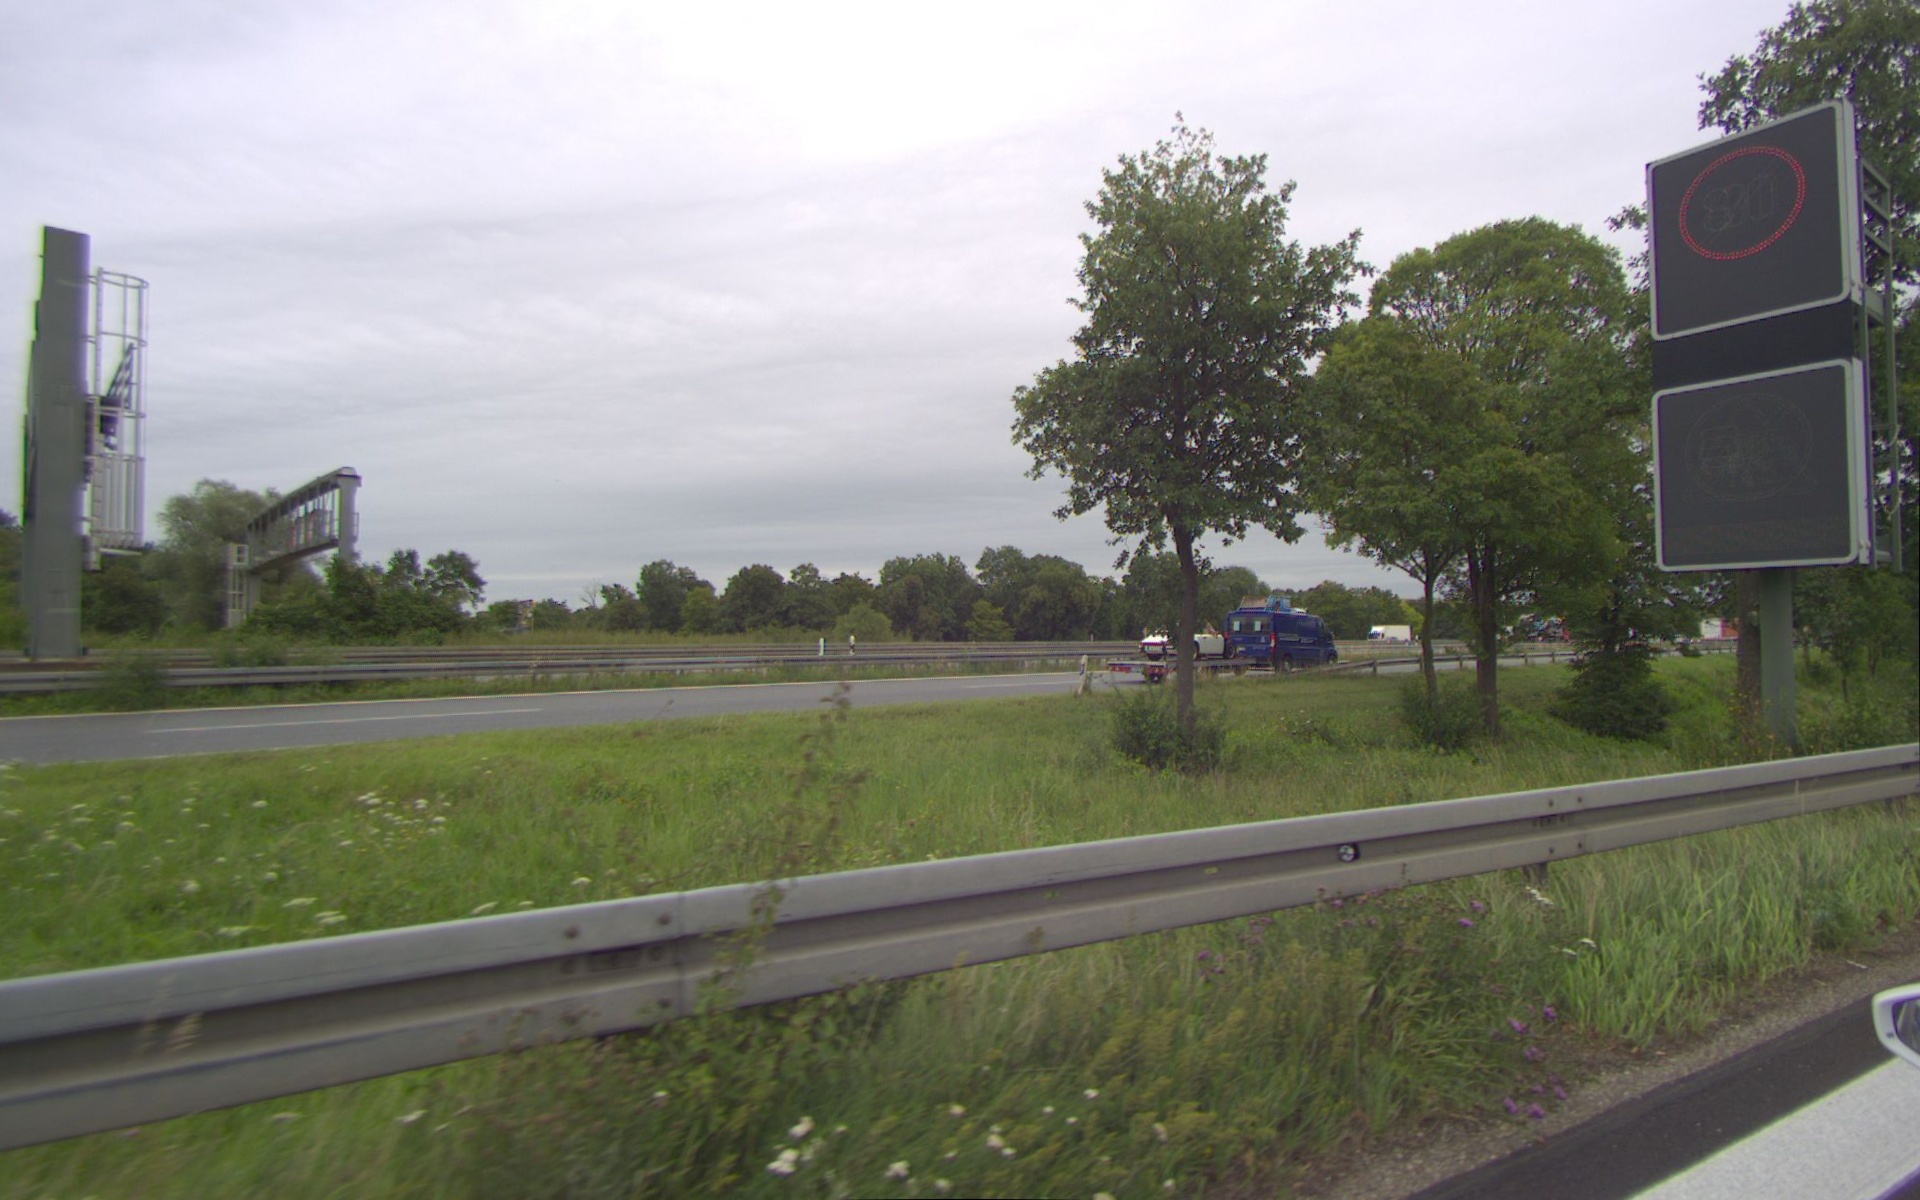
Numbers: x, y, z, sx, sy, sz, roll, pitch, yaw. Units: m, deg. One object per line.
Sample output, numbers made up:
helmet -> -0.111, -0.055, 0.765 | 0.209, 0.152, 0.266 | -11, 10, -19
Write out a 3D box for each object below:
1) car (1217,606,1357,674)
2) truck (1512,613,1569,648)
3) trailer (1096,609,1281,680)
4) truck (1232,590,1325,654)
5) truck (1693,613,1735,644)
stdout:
car -> 12.124, 1.420, 36.944 | 2.349, 2.296, 6.216 | 0, -1, 45
truck -> 58.587, 3.050, 101.210 | 8.575, 3.409, 2.828 | 2, -2, -45
trailer -> 7.504, 1.375, 32.274 | 2.460, 2.021, 7.018 | 0, -1, 45
truck -> 20.304, 1.451, 63.775 | 2.611, 3.862, 7.297 | 0, -2, 45
truck -> 116.050, 4.375, 154.561 | 10.128, 4.476, 3.696 | 2, -1, -45
